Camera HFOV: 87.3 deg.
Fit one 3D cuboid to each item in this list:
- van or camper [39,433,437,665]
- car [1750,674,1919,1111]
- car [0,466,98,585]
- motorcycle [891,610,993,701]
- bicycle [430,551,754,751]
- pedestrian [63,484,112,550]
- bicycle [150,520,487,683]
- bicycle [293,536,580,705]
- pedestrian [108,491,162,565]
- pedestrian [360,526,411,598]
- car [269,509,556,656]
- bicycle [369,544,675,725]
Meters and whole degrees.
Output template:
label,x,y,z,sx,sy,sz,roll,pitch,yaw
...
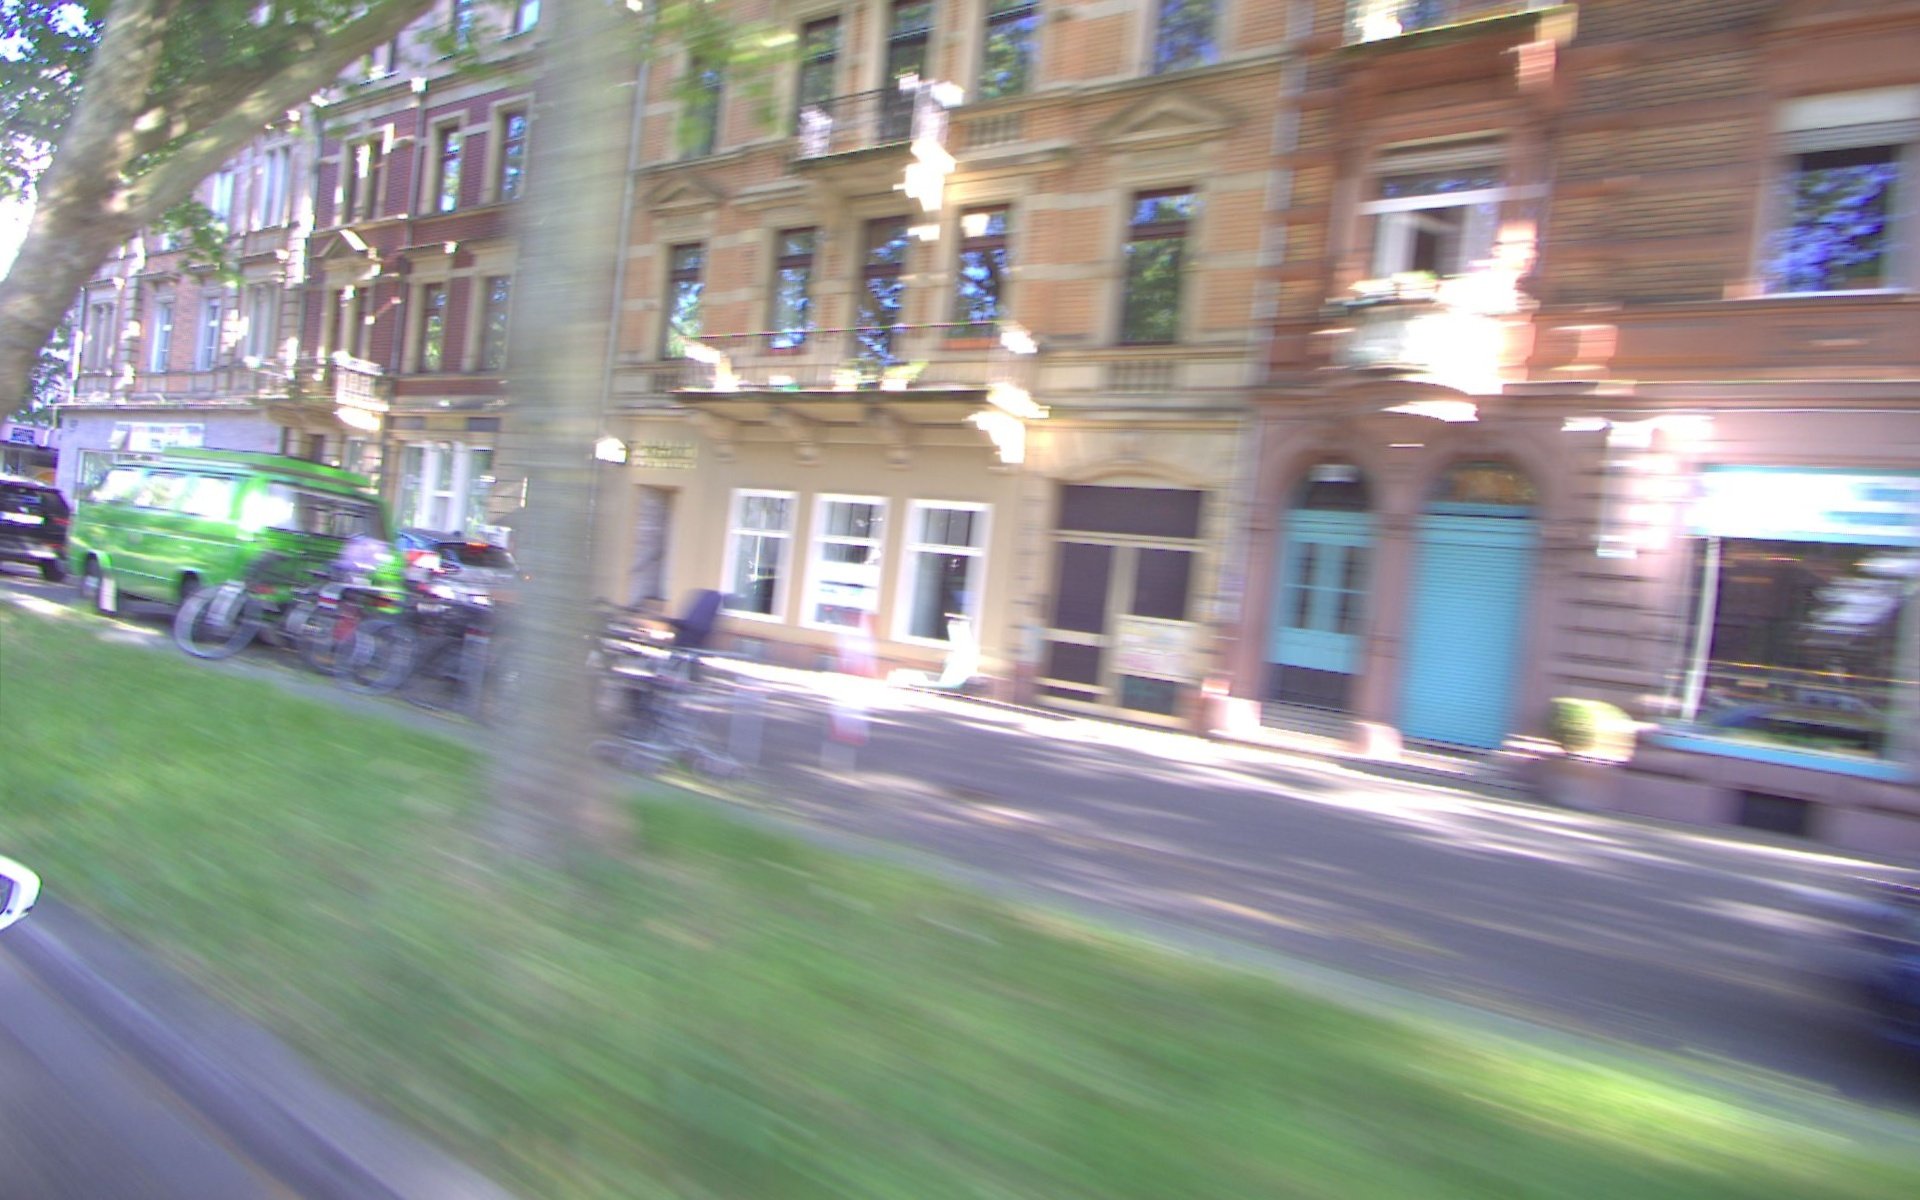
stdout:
label,x,y,z,sx,sy,sz,roll,pitch,yaw
van or camper,-8.604,-0.648,11.892,4.693,2.121,1.839,7,-3,30
car,5.295,1.270,3.138,4.123,1.423,1.838,7,-3,32
car,-16.605,-1.414,16.698,4.719,1.665,1.896,7,-3,30
motorcycle,-0.258,0.791,14.536,1.269,1.138,0.505,7,1,16
bicycle,-2.840,0.435,8.039,0.967,1.309,2.167,7,-1,33
pedestrian,-25.597,-2.429,29.503,1.062,1.777,0.692,7,1,32
bicycle,-6.114,0.092,9.840,0.957,1.309,2.557,7,-1,25
bicycle,-4.788,0.231,9.432,0.965,1.309,2.172,7,-1,21
pedestrian,-21.596,-1.886,26.332,0.942,1.810,0.692,7,0,32
pedestrian,-12.952,-0.852,22.682,0.755,1.494,0.598,7,1,33
car,-8.183,-0.284,14.967,4.115,1.596,1.758,7,-3,31
bicycle,-3.717,0.342,8.765,0.966,1.309,2.168,7,-1,31
